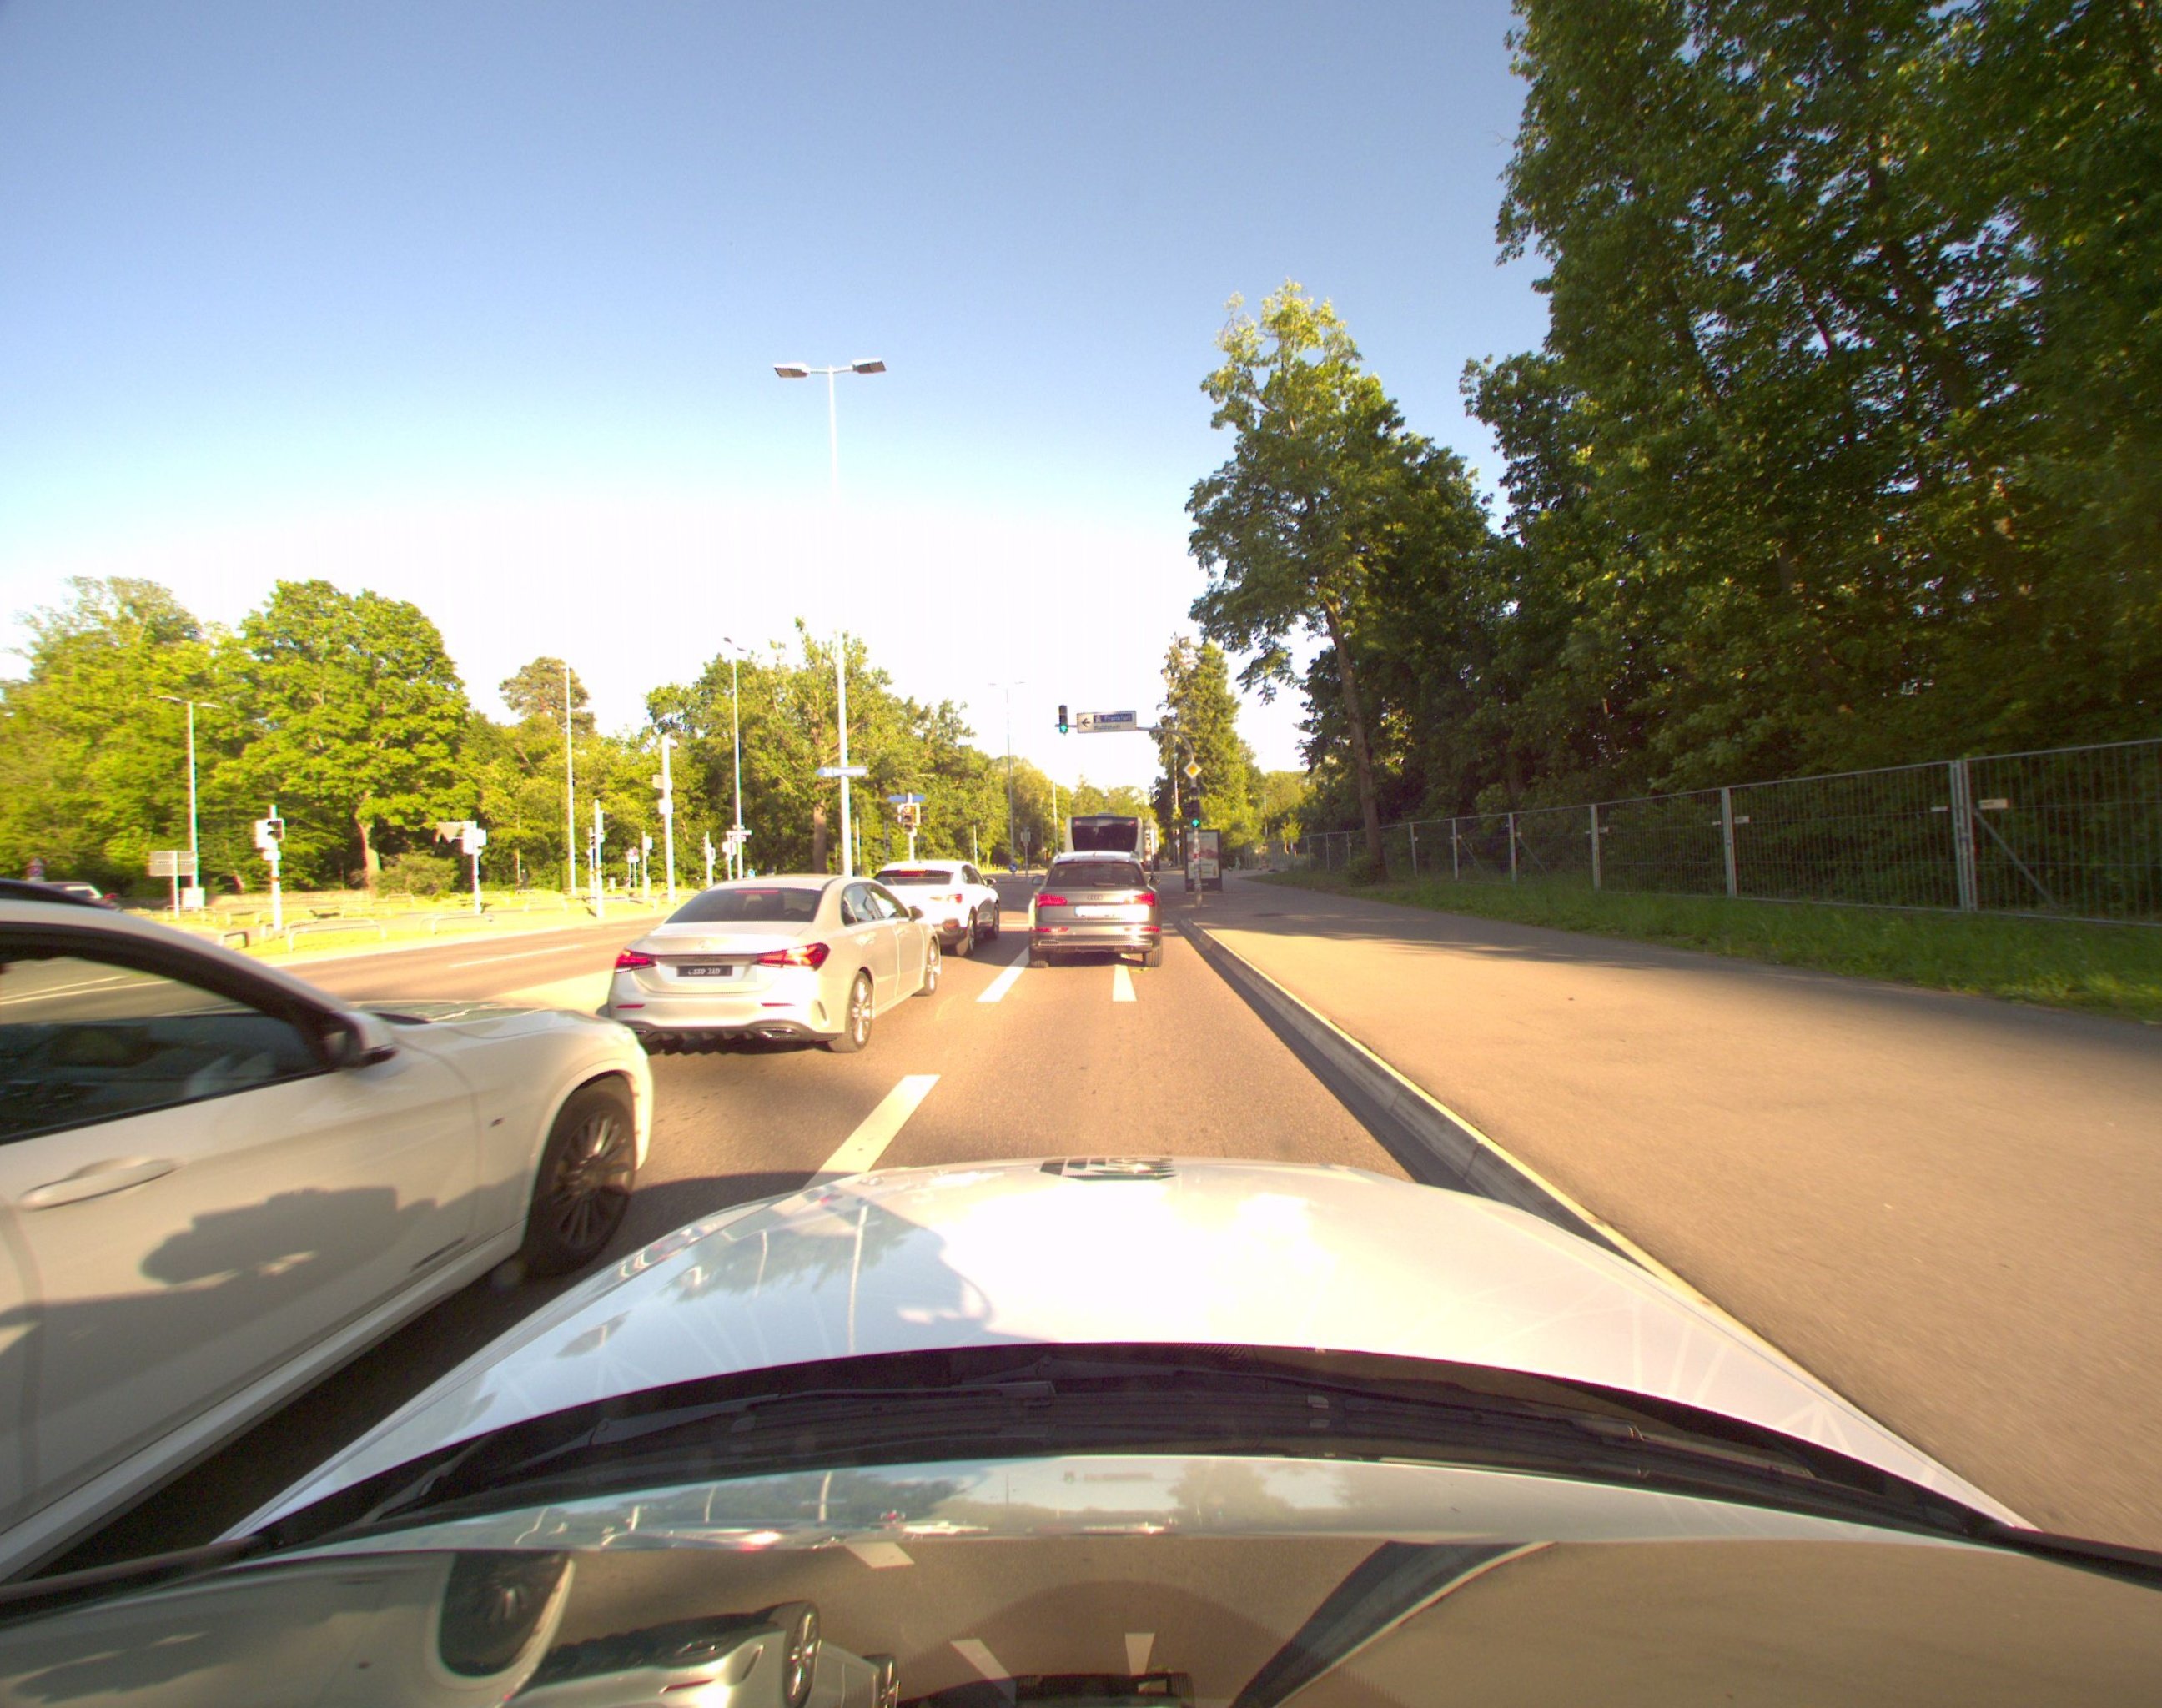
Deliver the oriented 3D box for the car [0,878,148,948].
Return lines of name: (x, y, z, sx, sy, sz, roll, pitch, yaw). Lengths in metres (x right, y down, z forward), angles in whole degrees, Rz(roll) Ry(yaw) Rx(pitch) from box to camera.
car: (-27.095, 1.529, 21.034, 4.526, 1.553, 1.899, -3, 1, 12)

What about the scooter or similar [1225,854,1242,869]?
scooter or similar: (11.992, 0.596, 64.111, 1.258, 1.147, 0.395, -4, -2, 9)

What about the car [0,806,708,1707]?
car: (-2.743, 0.724, 1.789, 1.786, 1.583, 4.321, -1, 0, 1)

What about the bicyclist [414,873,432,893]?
bicyclist: (-47.902, 2.094, 59.257, 0.790, 1.483, 0.734, -1, -1, 23)

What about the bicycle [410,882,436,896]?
bicycle: (-47.863, 2.568, 59.228, 1.571, 0.977, 0.789, -1, -1, 23)

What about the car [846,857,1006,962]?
car: (-2.496, 0.831, 14.226, 1.827, 1.513, 4.302, -1, 0, 2)

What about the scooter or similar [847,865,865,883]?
scooter or similar: (-15.637, 1.389, 56.594, 1.060, 1.146, 0.395, -2, 0, 10)

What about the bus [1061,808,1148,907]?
bus: (0.917, 0.155, 31.207, 2.679, 3.042, 12.045, 0, 0, 2)

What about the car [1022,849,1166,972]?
car: (0.242, 0.747, 12.982, 1.886, 1.605, 4.546, 0, 0, 2)

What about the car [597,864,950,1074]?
car: (-2.532, 0.840, 7.926, 1.651, 1.427, 4.320, -1, 0, 2)

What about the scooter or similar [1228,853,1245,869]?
scooter or similar: (12.349, 0.549, 64.735, 1.233, 1.167, 0.396, -3, -2, 27)

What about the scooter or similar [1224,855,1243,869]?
scooter or similar: (12.662, 0.667, 67.662, 1.424, 1.167, 0.396, -4, -2, 31)
